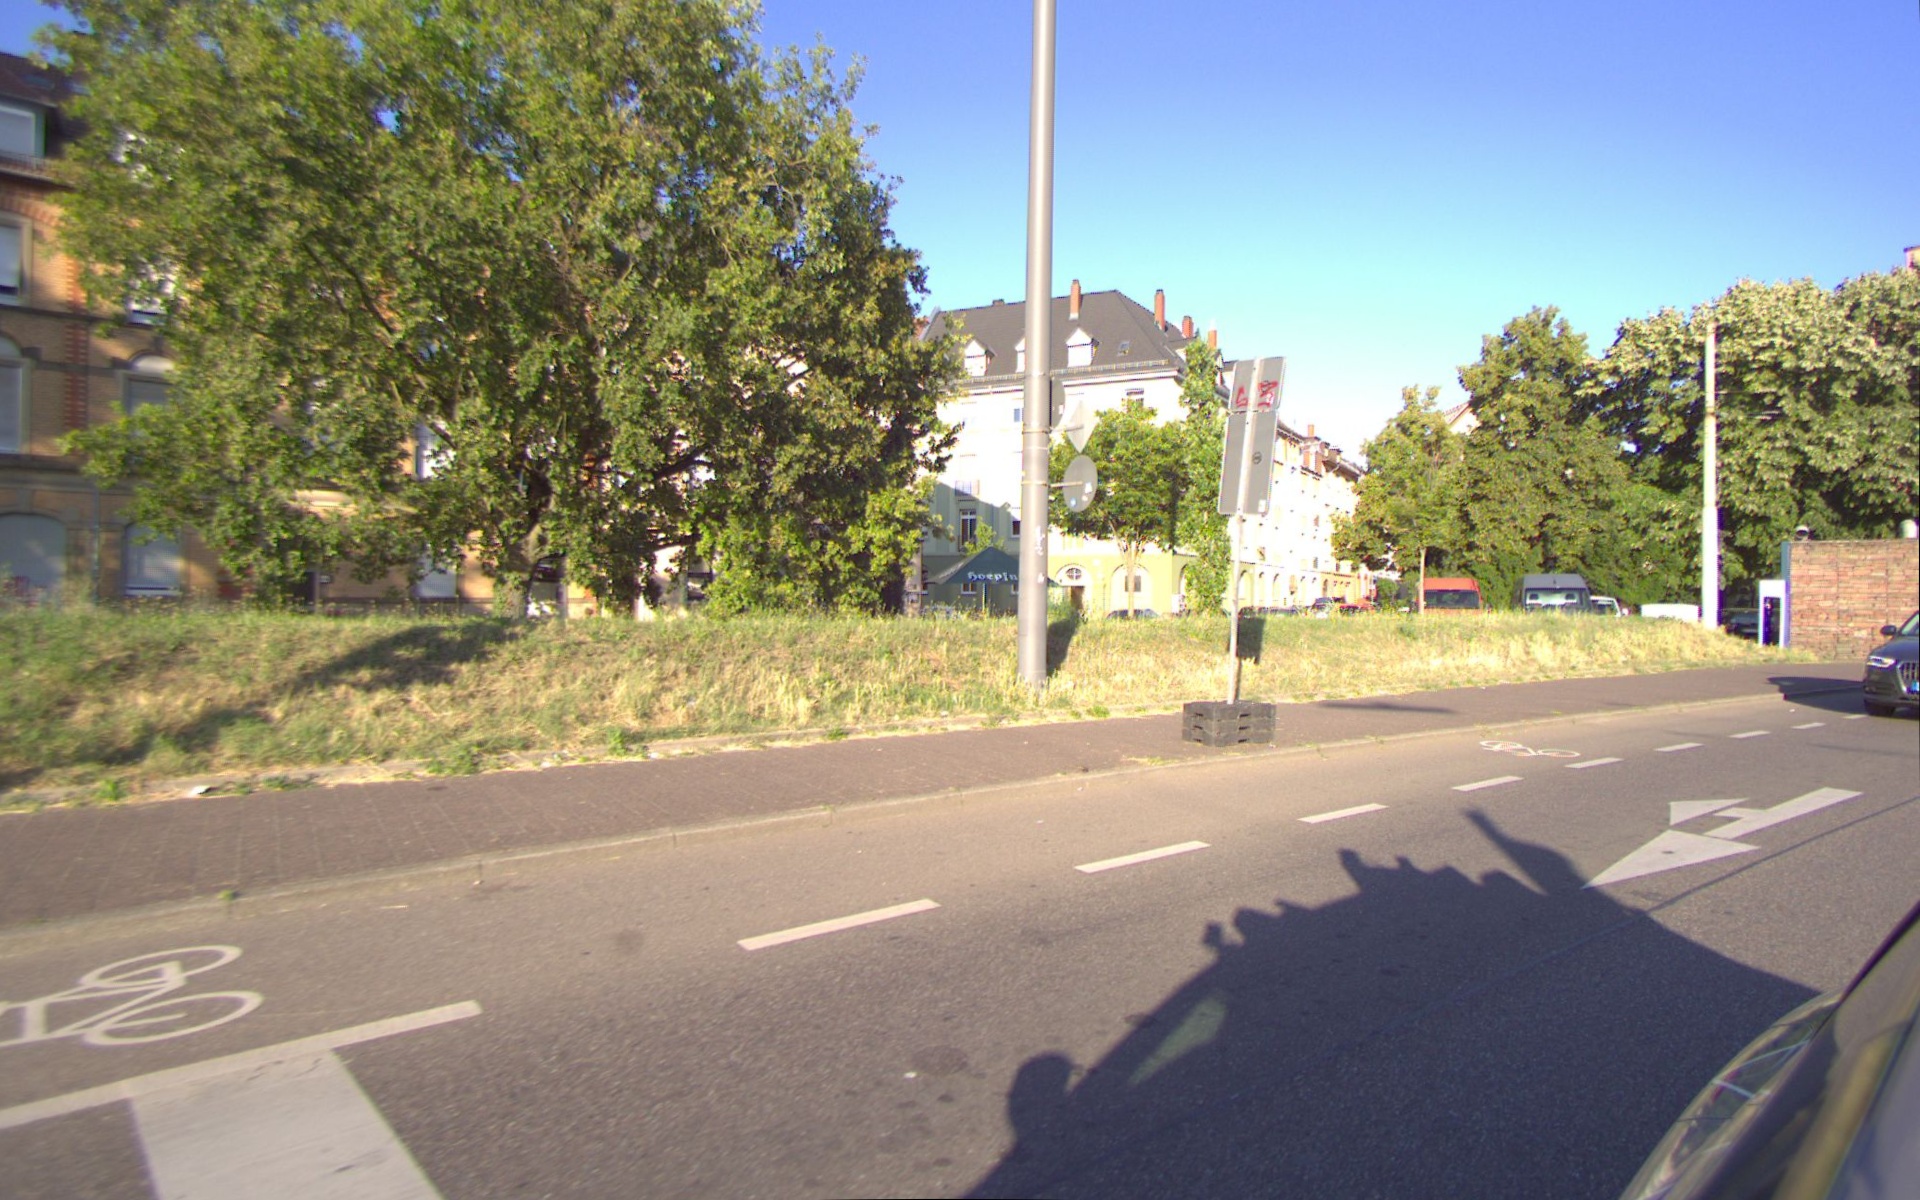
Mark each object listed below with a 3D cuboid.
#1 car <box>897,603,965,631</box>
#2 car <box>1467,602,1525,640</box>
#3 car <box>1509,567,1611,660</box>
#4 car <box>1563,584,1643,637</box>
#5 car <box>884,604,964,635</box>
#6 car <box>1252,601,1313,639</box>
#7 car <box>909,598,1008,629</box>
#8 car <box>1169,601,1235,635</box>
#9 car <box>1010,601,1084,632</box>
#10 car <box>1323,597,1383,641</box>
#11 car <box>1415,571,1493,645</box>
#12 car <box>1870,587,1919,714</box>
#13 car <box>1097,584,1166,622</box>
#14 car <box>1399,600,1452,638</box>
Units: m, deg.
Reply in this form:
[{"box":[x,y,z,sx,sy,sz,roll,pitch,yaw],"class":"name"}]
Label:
[{"box":[-1.592,0.912,55.679,3.595,1.437,1.303,0,0,28],"class":"car"},{"box":[22.785,0.863,43.141,1.730,1.485,4.194,0,0,22],"class":"car"},{"box":[19.157,0.355,32.567,2.021,2.699,6.165,1,1,23],"class":"car"},{"box":[26.289,0.385,41.554,1.904,2.004,4.715,1,0,22],"class":"car"},{"box":[-1.749,0.934,49.152,3.602,1.402,1.542,0,0,27],"class":"car"},{"box":[11.366,0.663,35.540,1.687,1.176,3.677,1,1,24],"class":"car"},{"box":[-0.063,0.501,38.583,3.502,1.058,1.510,1,1,24],"class":"car"},{"box":[8.691,0.606,36.107,1.687,1.103,3.677,1,1,24],"class":"car"},{"box":[4.553,0.839,53.110,3.608,1.549,1.518,0,0,27],"class":"car"},{"box":[13.476,0.597,34.615,1.760,1.391,3.859,1,1,24],"class":"car"},{"box":[16.128,0.209,33.279,2.021,2.241,5.372,1,1,23],"class":"car"},{"box":[14.061,0.667,13.643,3.989,1.607,1.773,1,0,-34],"class":"car"},{"box":[6.382,0.071,37.330,1.687,1.274,3.677,1,1,24],"class":"car"},{"box":[20.431,0.814,44.530,1.904,1.559,3.878,0,0,22],"class":"car"}]
